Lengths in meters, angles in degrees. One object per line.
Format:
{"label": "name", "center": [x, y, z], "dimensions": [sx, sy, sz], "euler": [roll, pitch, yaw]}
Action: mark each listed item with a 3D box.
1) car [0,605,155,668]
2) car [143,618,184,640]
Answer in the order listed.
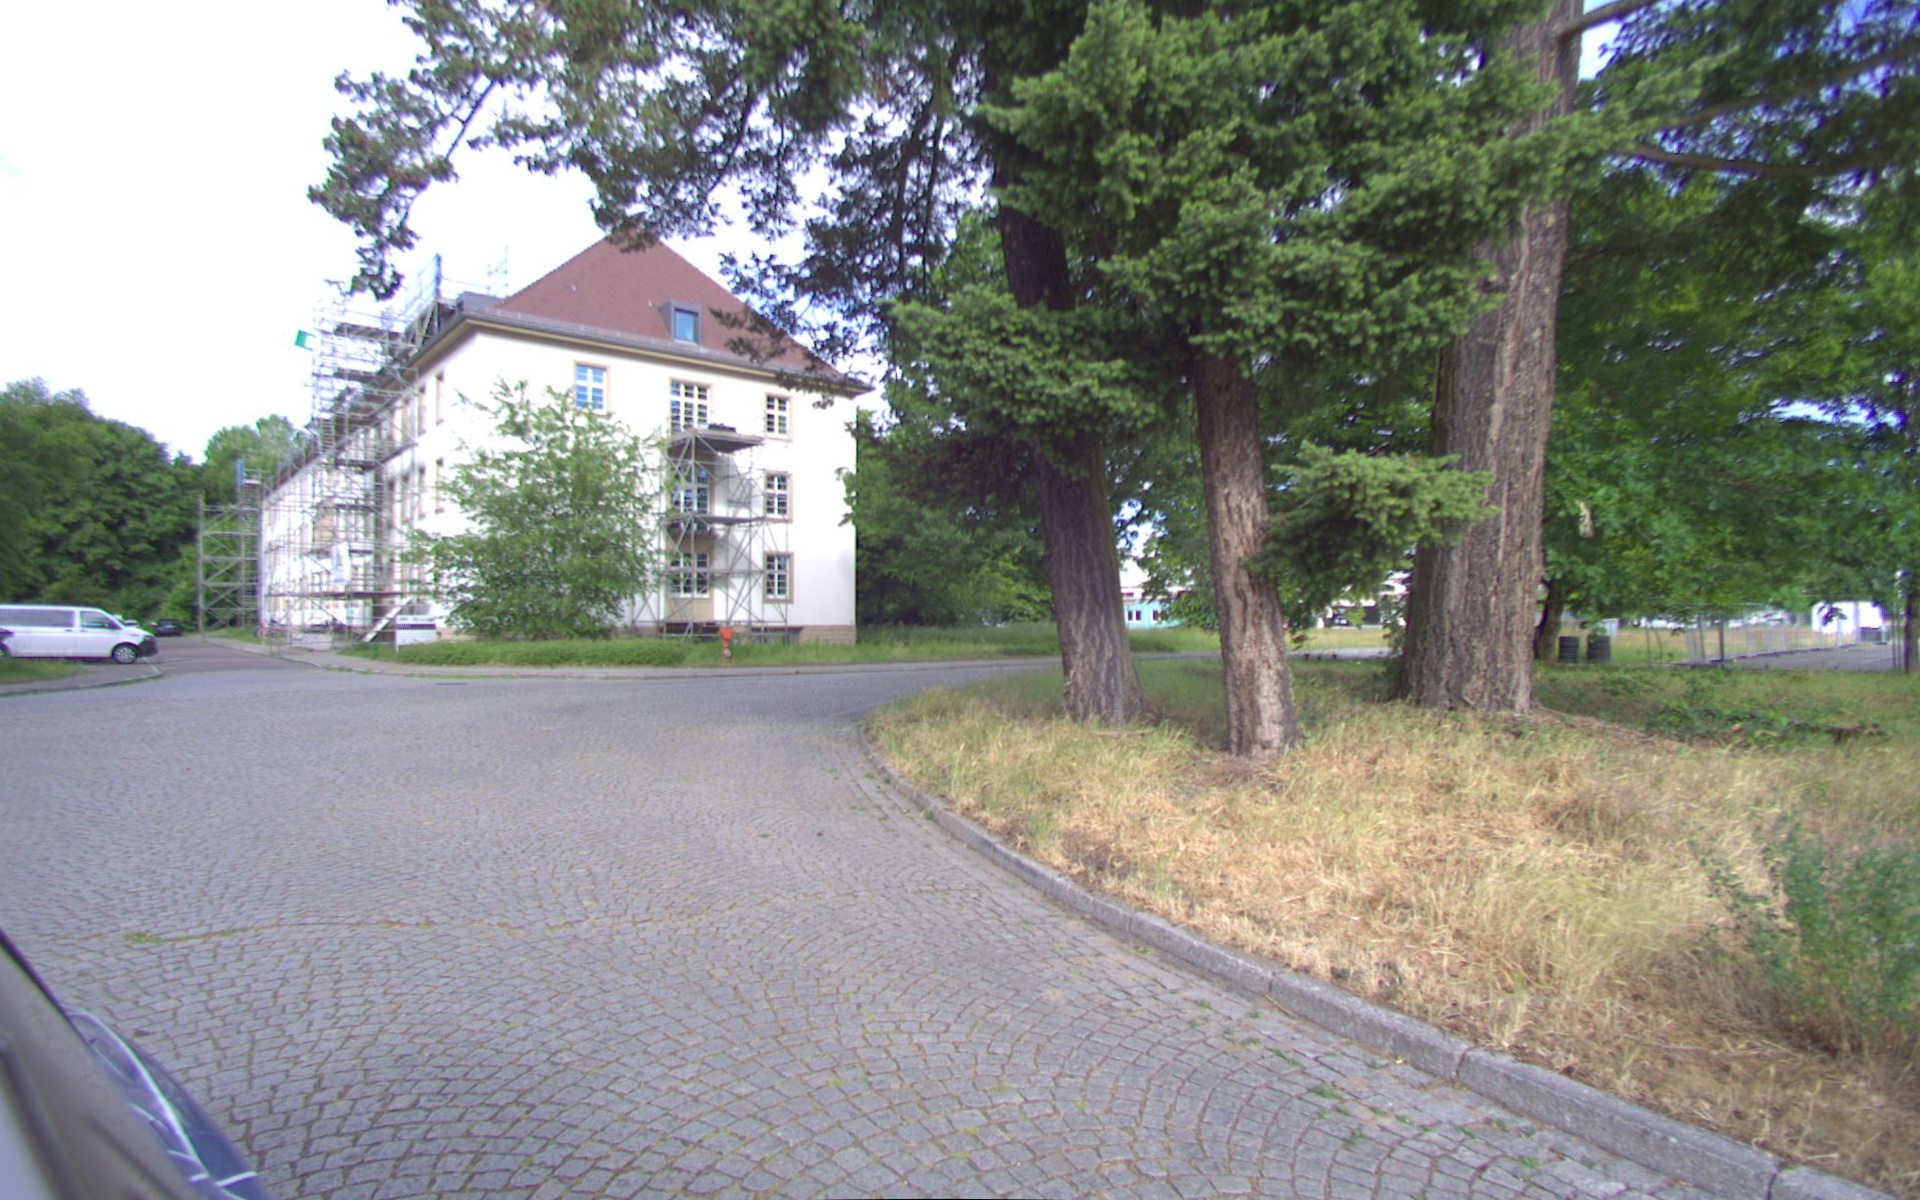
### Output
{"label": "car", "center": [-30.592, 1.215, 34.451], "dimensions": [4.844, 2.010, 2.002], "euler": [1, -2, -43]}
{"label": "car", "center": [-69.599, 2.521, 88.416], "dimensions": [3.996, 1.941, 2.002], "euler": [-1, -2, 39]}
